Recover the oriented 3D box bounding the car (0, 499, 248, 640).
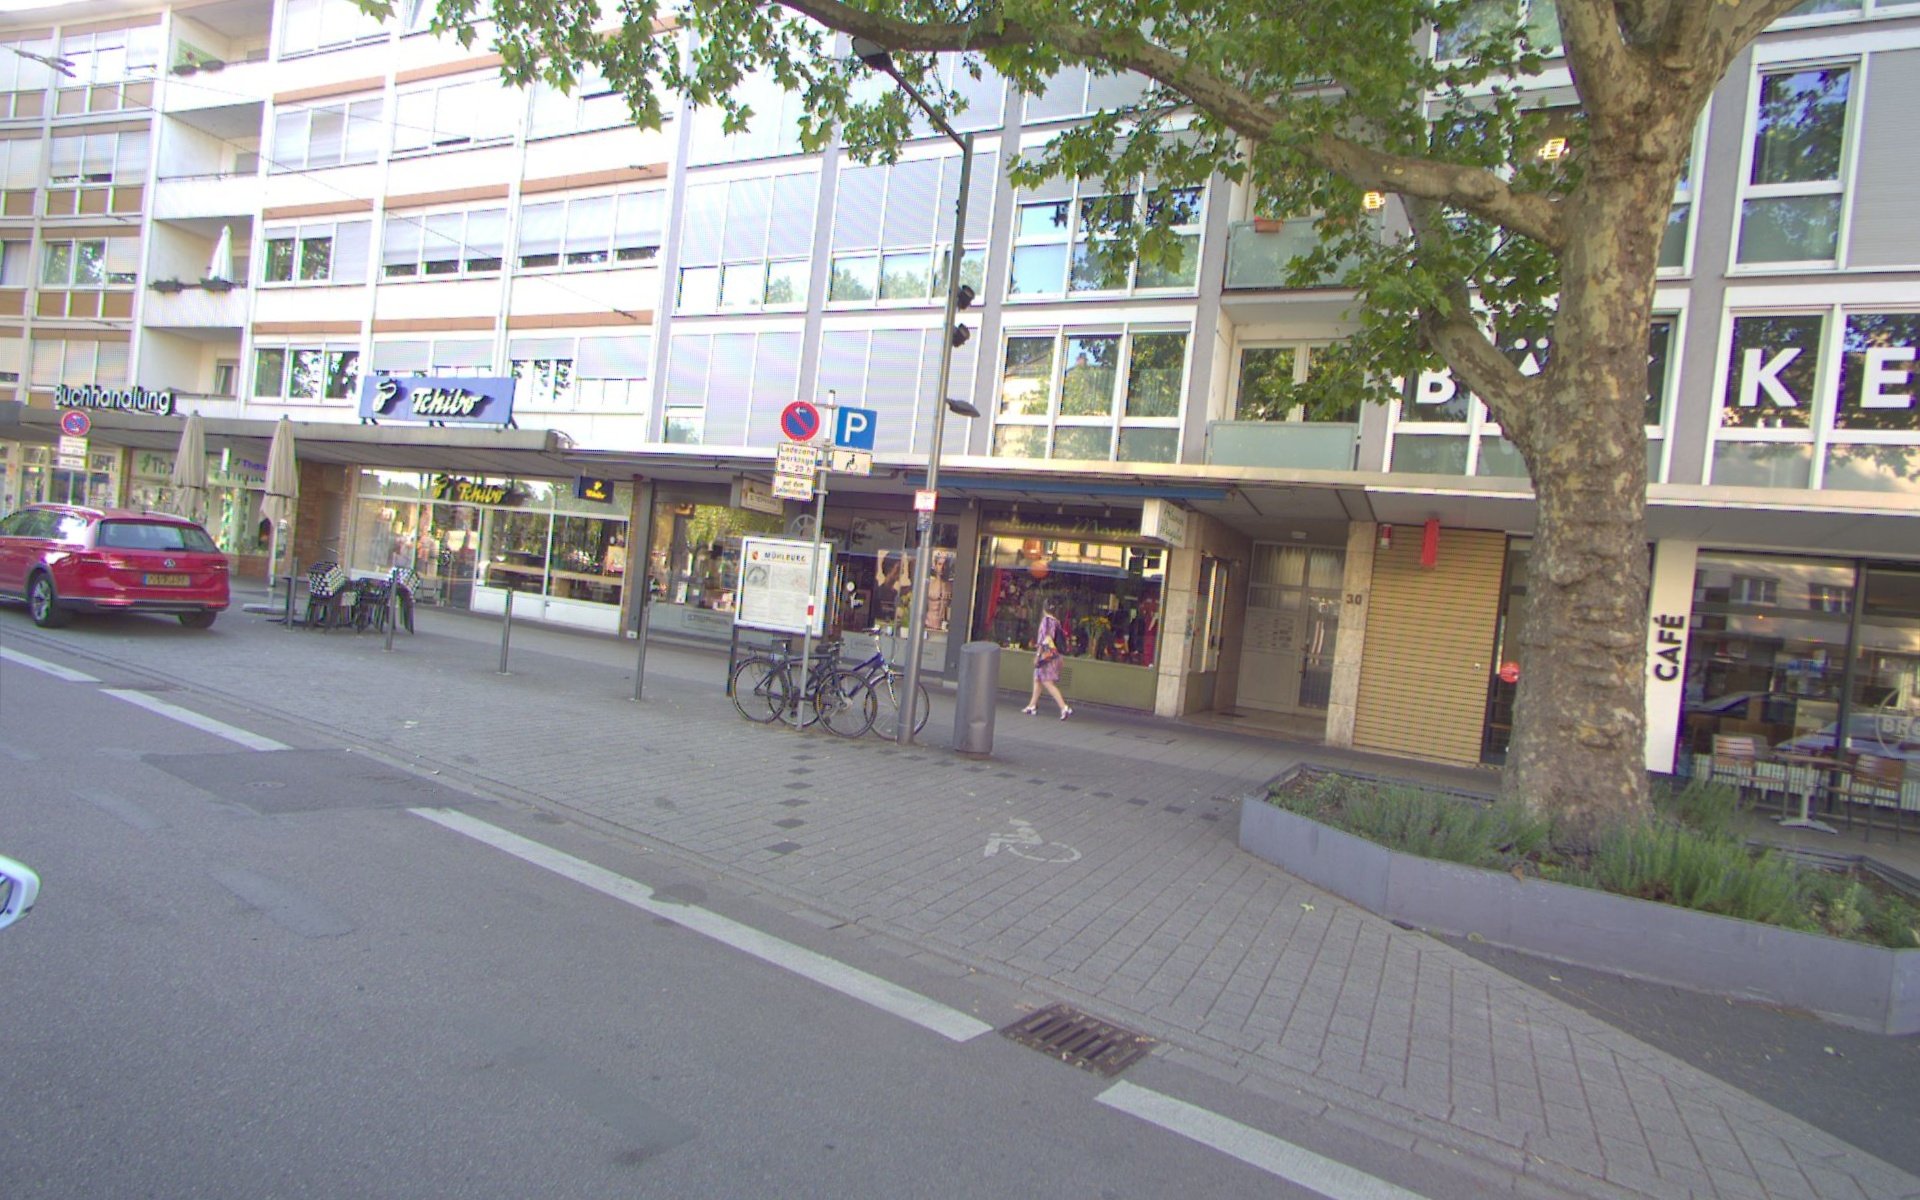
[{"bbox_3d":[-11.669,-0.462,13.422,4.229,1.502,1.772,6,1,28],"label":"car"}]

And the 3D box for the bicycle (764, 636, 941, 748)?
[{"bbox_3d":[-1.129,0.951,10.602,1.743,0.931,0.391,6,2,12],"label":"bicycle"}]

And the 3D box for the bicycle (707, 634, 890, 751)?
[{"bbox_3d":[-1.643,0.922,10.225,1.743,0.951,0.391,6,2,12],"label":"bicycle"}]
